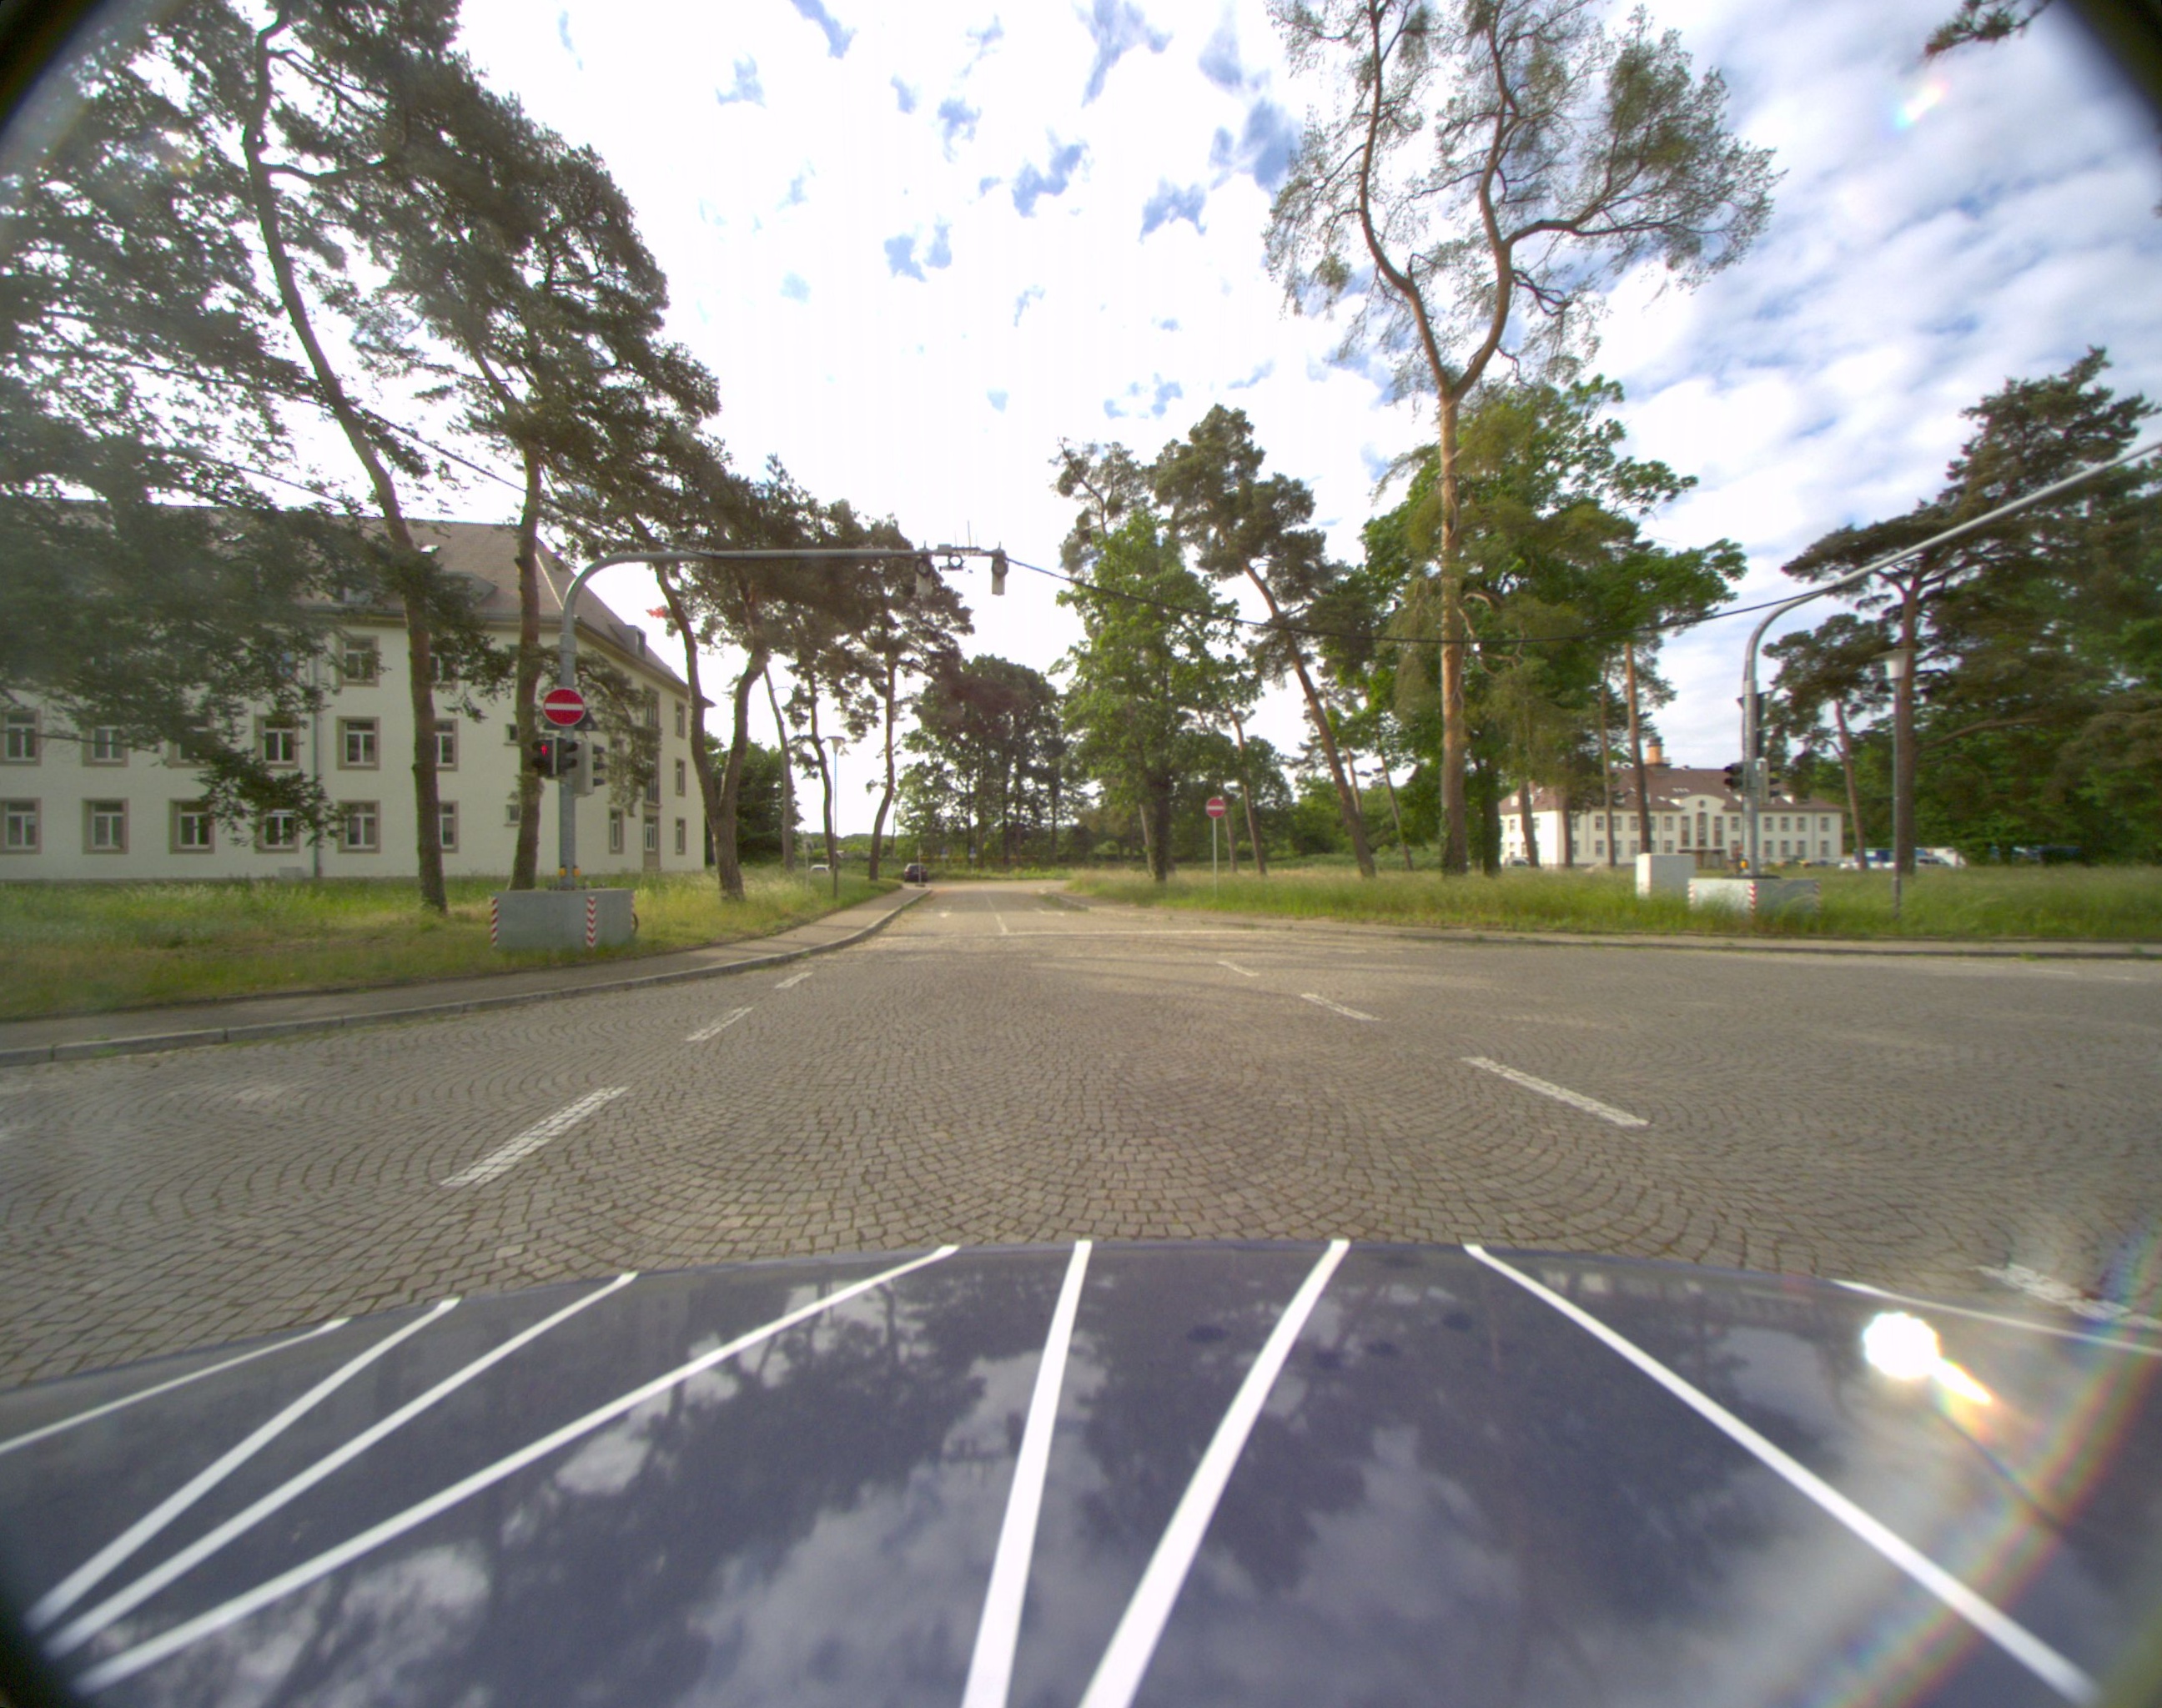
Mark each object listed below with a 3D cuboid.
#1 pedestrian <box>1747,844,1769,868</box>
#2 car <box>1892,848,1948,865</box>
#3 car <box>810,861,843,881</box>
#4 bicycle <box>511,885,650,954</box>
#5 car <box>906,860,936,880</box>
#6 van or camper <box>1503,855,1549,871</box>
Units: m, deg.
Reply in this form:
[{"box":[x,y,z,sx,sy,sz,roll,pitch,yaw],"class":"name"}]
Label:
[{"box":[63.473,0.175,71.243,1.056,2.165,1.184,0,0,-8],"class":"pedestrian"},{"box":[99.317,0.283,89.971,4.835,2.002,2.165,0,0,-9],"class":"car"},{"box":[-20.719,1.339,61.919,1.773,1.524,3.692,0,0,-7],"class":"car"},{"box":[-8.507,1.101,12.991,1.834,1.057,0.645,0,4,-11],"class":"bicycle"},{"box":[-13.060,1.265,62.269,2.000,1.524,3.998,0,0,-7],"class":"car"},{"box":[65.680,1.322,112.302,2.465,2.293,6.122,0,0,-10],"class":"van or camper"}]
